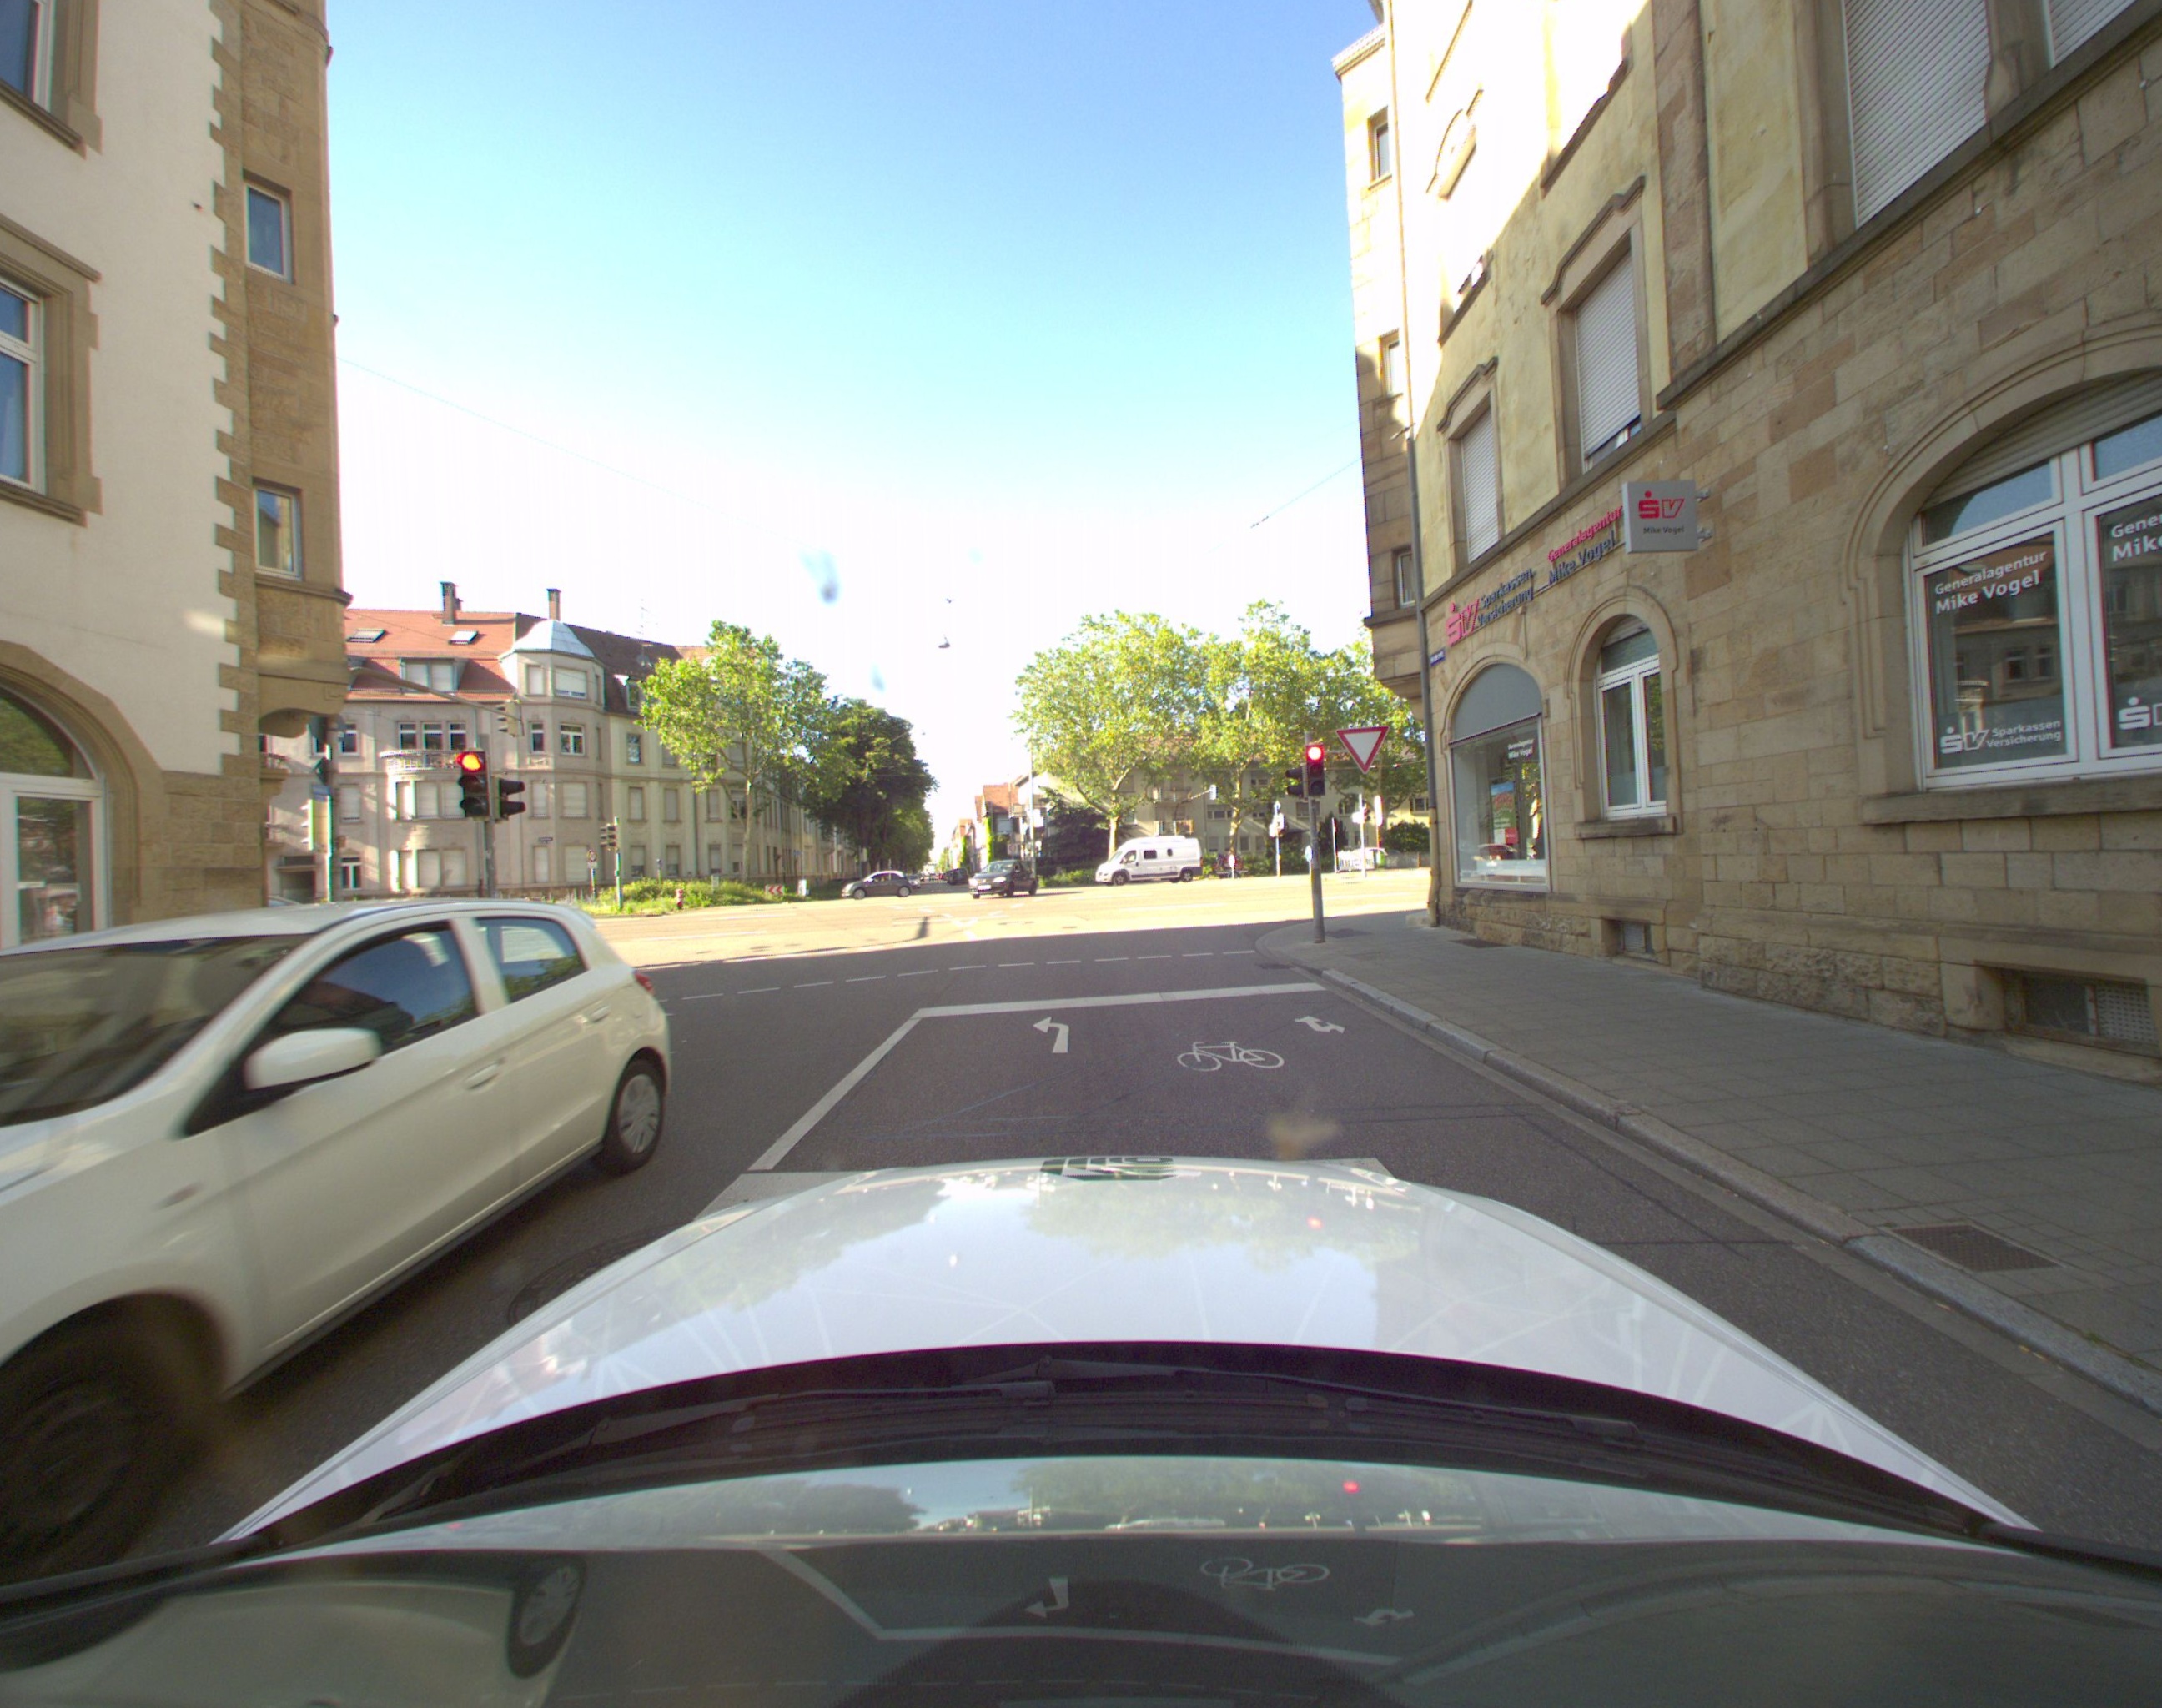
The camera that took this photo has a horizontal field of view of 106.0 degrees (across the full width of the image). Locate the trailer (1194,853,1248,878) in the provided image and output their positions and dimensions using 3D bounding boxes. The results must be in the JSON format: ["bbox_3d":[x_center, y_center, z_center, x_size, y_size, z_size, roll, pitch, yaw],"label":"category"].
[{"bbox_3d":[8.149,0.682,47.488,2.747,1.311,1.263,-3,0,-17],"label":"trailer"}]

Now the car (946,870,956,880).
[{"bbox_3d":[-23.389,3.745,146.730,1.639,1.632,3.270,-3,0,-9],"label":"car"}]

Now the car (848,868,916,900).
[{"bbox_3d":[-10.729,1.580,43.872,3.391,1.487,1.515,-3,0,-20],"label":"car"}]

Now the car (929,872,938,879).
[{"bbox_3d":[-32.362,4.726,178.731,1.674,1.483,3.510,-2,-1,-9],"label":"car"}]

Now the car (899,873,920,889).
[{"bbox_3d":[-17.682,2.727,84.074,1.995,1.445,3.983,-3,0,-12],"label":"car"}]

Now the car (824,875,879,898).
[{"bbox_3d":[-18.026,2.529,64.028,3.997,1.486,1.672,-3,0,-17],"label":"car"}]

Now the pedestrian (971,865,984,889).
[{"bbox_3d":[-7.623,1.681,59.982,0.639,1.750,0.651,0,-2,-45],"label":"pedestrian"}]

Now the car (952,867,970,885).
[{"bbox_3d":[-14.034,2.547,95.259,1.992,2.013,3.989,-3,0,-8],"label":"car"}]

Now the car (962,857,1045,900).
[{"bbox_3d":[-2.974,0.931,32.169,1.639,1.451,4.020,-3,0,20],"label":"car"}]

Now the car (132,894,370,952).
[{"bbox_3d":[-21.761,1.777,21.553,3.995,1.319,1.812,0,-1,-16],"label":"car"}]

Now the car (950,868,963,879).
[{"bbox_3d":[-17.844,2.766,116.595,1.519,1.490,2.841,-1,-1,-15],"label":"car"}]

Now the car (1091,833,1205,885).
[{"bbox_3d":[3.802,0.253,46.401,6.054,2.568,1.989,-3,0,-17],"label":"car"}]

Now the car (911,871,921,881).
[{"bbox_3d":[-28.132,3.741,138.994,1.546,1.632,3.224,-3,0,-9],"label":"car"}]

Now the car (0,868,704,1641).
[{"bbox_3d":[-3.023,0.851,2.964,1.621,1.472,3.795,-3,0,-3],"label":"car"}]

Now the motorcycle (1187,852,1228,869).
[{"bbox_3d":[10.177,0.521,65.440,2.868,1.178,1.470,-3,0,-15],"label":"motorcycle"}]

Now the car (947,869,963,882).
[{"bbox_3d":[-19.558,3.303,126.051,1.996,1.833,3.980,-1,-1,-14],"label":"car"}]

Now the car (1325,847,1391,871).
[{"bbox_3d":[17.037,0.280,50.140,3.664,1.354,1.596,-1,-1,-21],"label":"car"}]
